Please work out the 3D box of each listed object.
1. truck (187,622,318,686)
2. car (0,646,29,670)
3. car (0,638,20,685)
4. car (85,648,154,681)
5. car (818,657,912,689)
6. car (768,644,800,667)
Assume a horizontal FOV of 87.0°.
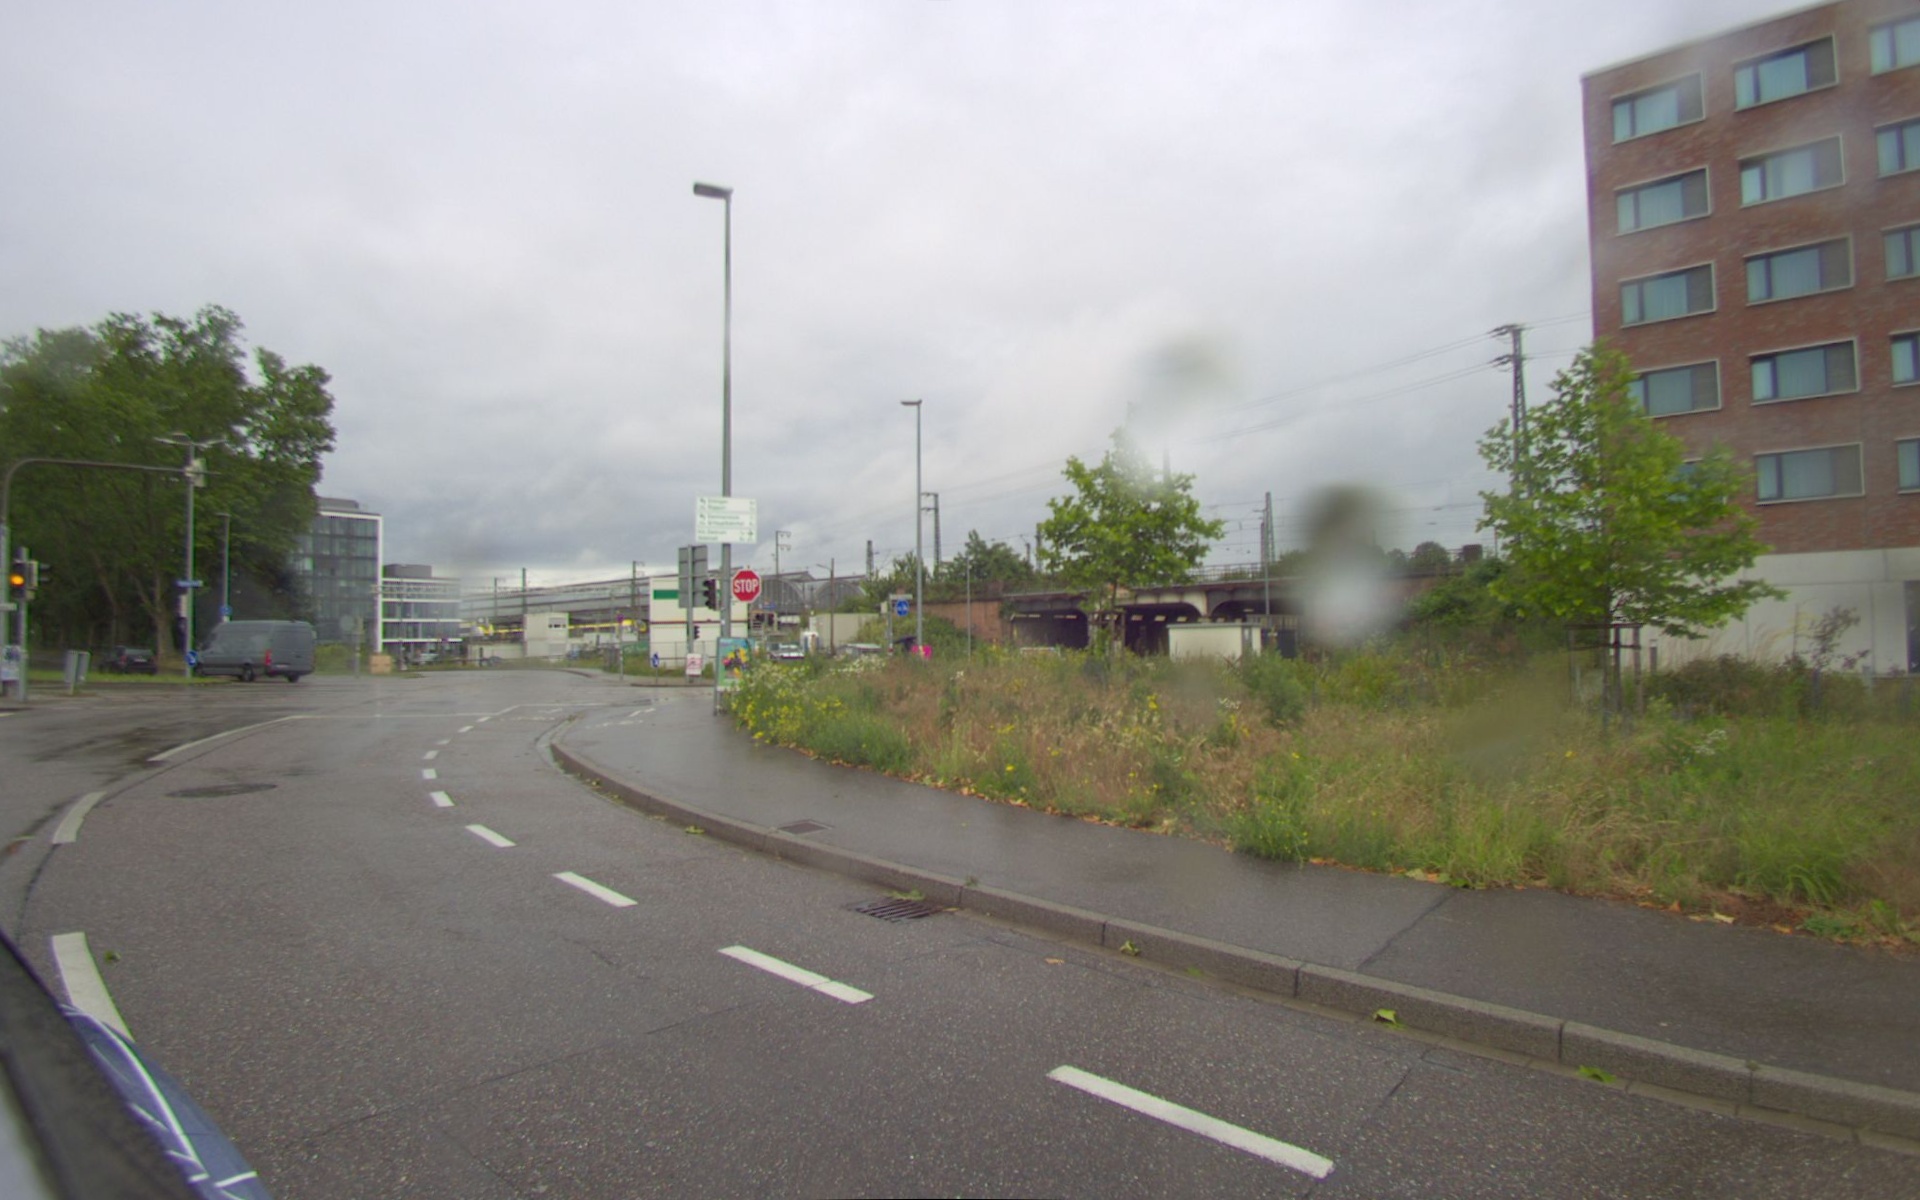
[{"bbox_3d":[-30.992,2.359,44.259,6.953,2.639,2.069,-2,-4,32],"label":"truck"},{"bbox_3d":[-67.399,4.101,71.099,3.989,1.654,1.977,-2,-4,34],"label":"car"},{"bbox_3d":[-31.014,1.889,30.805,3.964,1.392,1.736,-1,-2,16],"label":"car"},{"bbox_3d":[-41.617,3.220,50.117,3.520,1.463,1.631,-5,-6,33],"label":"car"},{"bbox_3d":[-4.697,3.619,50.211,4.358,1.497,1.736,3,-4,-37],"label":"car"},{"bbox_3d":[-16.780,5.258,96.185,1.965,2.029,4.013,1,-2,-26],"label":"car"}]
